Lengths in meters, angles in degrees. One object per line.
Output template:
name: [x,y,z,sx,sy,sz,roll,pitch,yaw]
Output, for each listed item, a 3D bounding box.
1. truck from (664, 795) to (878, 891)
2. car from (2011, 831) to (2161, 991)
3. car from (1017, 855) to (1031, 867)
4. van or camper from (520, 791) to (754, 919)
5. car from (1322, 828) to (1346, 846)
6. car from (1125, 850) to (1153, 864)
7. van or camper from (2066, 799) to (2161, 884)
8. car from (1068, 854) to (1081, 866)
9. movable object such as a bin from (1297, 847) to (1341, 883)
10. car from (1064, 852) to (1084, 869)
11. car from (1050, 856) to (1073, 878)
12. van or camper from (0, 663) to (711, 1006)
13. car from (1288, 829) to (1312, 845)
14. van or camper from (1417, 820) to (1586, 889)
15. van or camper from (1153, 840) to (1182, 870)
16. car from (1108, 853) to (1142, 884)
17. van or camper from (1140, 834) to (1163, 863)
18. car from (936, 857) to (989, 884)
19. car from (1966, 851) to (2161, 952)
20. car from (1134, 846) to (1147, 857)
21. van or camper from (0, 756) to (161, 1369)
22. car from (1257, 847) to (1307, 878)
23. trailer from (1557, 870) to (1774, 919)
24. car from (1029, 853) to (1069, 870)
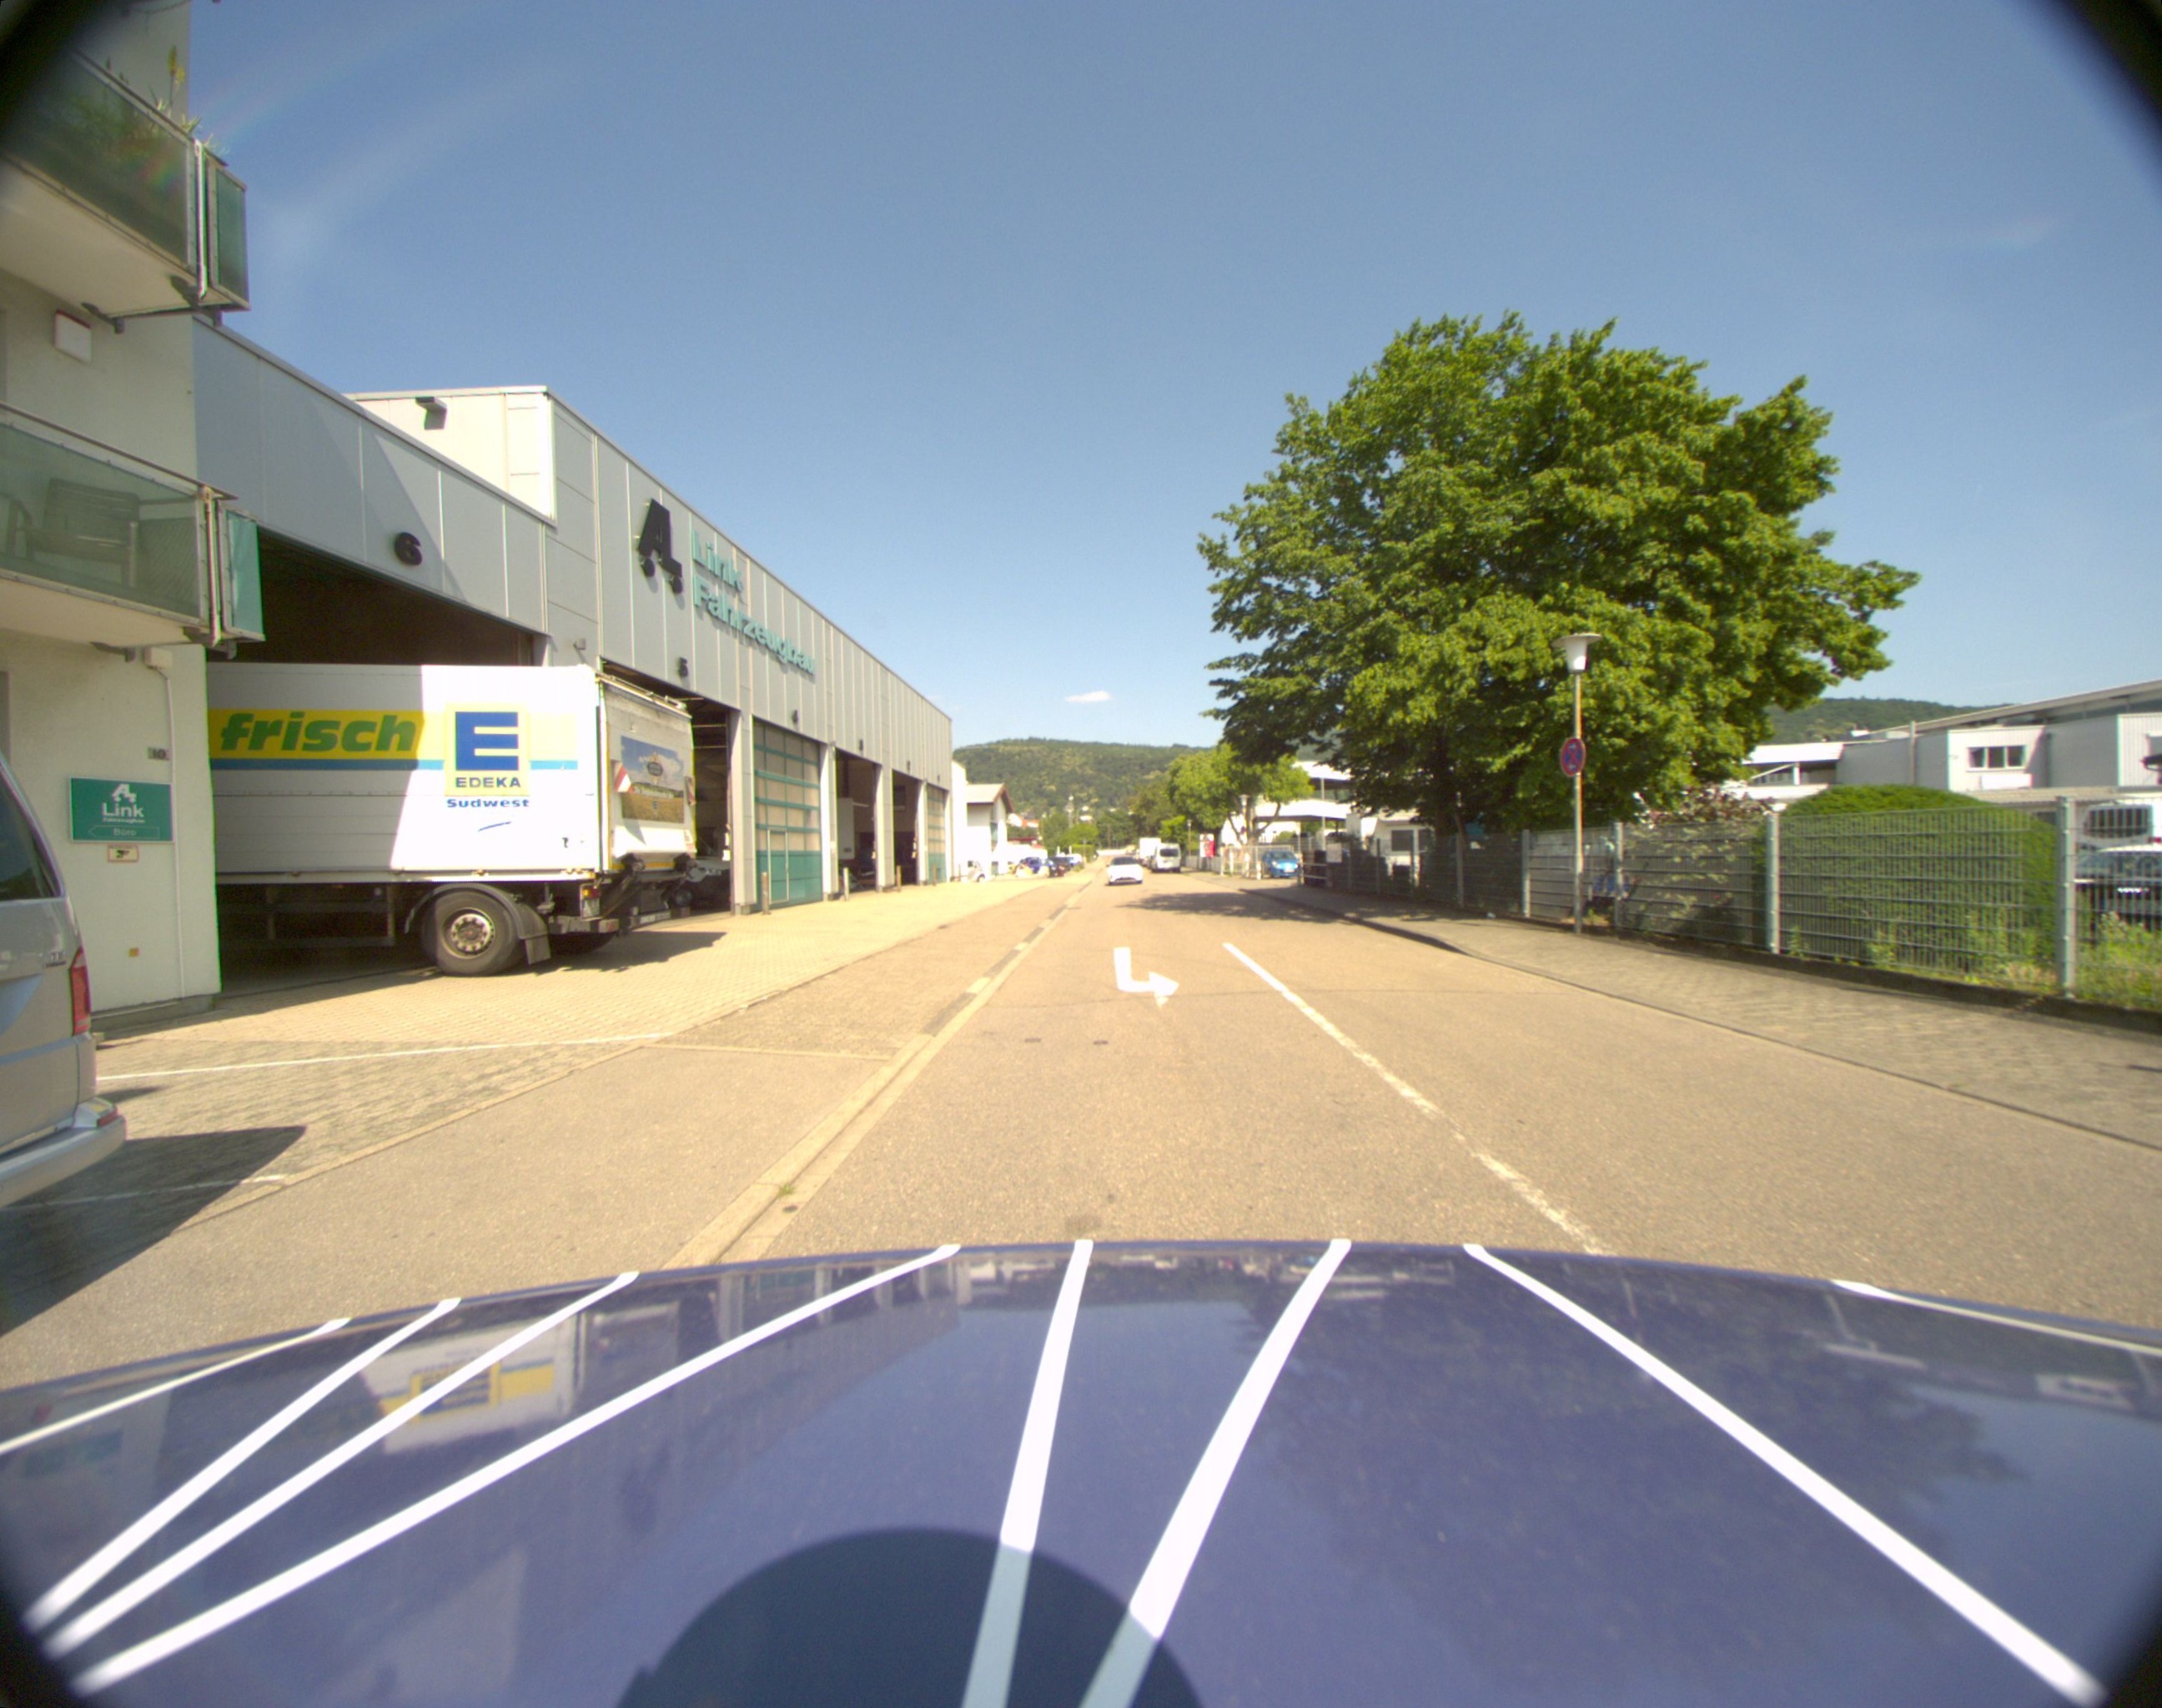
truck: [-12.783,-0.423,31.722,7.853,3.760,2.625,-1,1,3]
car: [12.244,0.517,7.516,3.833,1.533,1.857,-1,1,0]
car: [-6.922,0.810,92.345,1.452,1.371,3.186,-3,1,0]
van or camper: [-11.905,0.021,20.646,5.055,3.187,2.000,-2,1,1]
car: [23.378,-1.581,70.137,1.705,1.449,3.530,-3,1,24]
car: [6.522,0.331,85.853,1.711,1.449,3.518,-1,1,-23]
van or camper: [30.944,-0.388,20.982,4.595,2.292,1.782,-1,2,9]
car: [-0.764,0.705,91.827,1.452,1.371,3.186,-3,1,0]
movable object such as a bin: [9.921,0.448,31.786,1.383,1.350,2.104,-3,1,8]
car: [-0.691,0.620,71.865,1.453,1.487,3.184,-3,1,-8]
car: [-1.325,0.830,51.714,1.452,1.371,3.186,-1,1,0]
van or camper: [-11.275,-0.219,9.545,11.633,3.671,2.780,-1,1,-4]
car: [20.606,-1.585,71.334,1.705,1.449,3.531,-1,1,23]
van or camper: [13.033,0.010,23.766,4.192,1.853,1.774,-3,1,5]
van or camper: [6.980,0.063,61.666,2.028,2.363,4.685,0,1,2]
car: [2.349,0.756,40.761,1.736,1.521,4.110,-1,0,3]
van or camper: [8.495,-0.654,91.993,2.525,3.350,5.592,-1,1,2]
car: [-7.067,0.957,45.486,2.829,1.525,1.309,-1,-1,-44]
car: [16.625,0.706,12.073,3.077,1.464,1.653,-1,1,5]
car: [9.069,-0.400,115.859,1.708,1.564,3.524,-3,1,0]
van or camper: [-5.399,0.658,1.255,4.559,1.897,1.997,-1,0,-17]
car: [10.413,0.417,39.560,1.644,1.449,3.525,-3,1,1]
trailer: [12.234,0.831,16.076,3.289,0.934,1.613,0,0,5]
car: [-2.546,0.610,60.840,2.975,1.332,1.453,-1,1,3]
